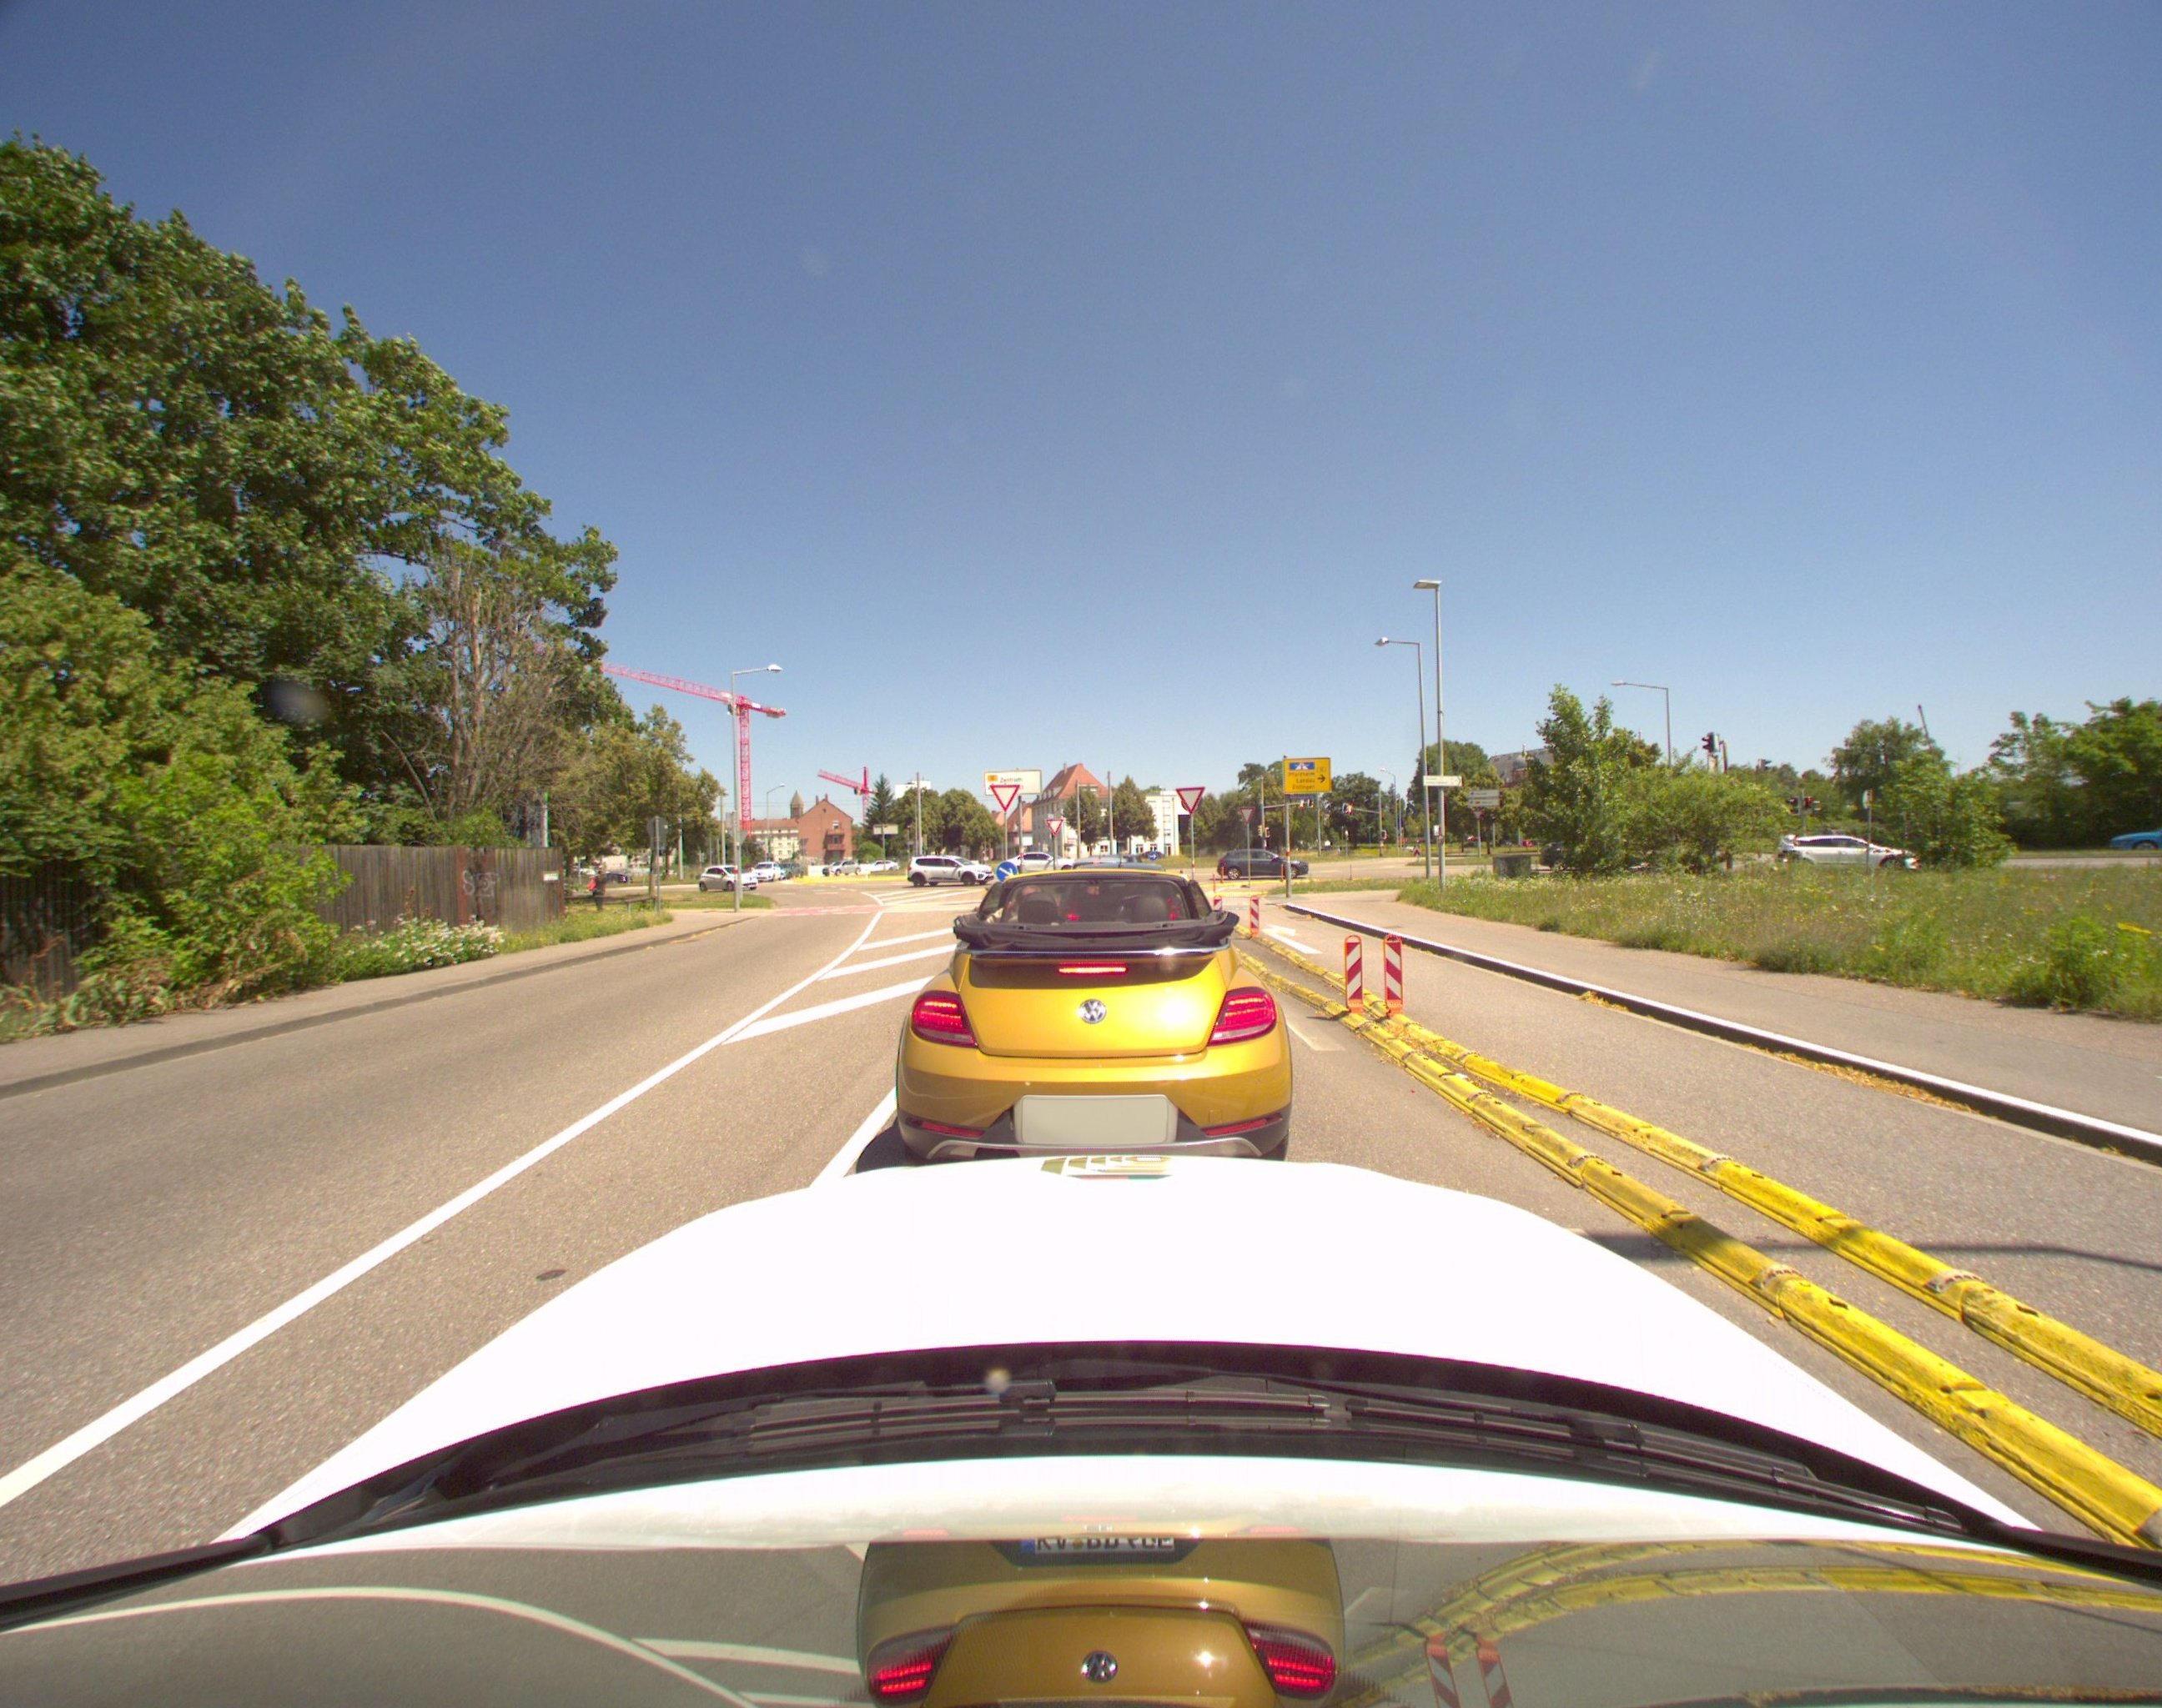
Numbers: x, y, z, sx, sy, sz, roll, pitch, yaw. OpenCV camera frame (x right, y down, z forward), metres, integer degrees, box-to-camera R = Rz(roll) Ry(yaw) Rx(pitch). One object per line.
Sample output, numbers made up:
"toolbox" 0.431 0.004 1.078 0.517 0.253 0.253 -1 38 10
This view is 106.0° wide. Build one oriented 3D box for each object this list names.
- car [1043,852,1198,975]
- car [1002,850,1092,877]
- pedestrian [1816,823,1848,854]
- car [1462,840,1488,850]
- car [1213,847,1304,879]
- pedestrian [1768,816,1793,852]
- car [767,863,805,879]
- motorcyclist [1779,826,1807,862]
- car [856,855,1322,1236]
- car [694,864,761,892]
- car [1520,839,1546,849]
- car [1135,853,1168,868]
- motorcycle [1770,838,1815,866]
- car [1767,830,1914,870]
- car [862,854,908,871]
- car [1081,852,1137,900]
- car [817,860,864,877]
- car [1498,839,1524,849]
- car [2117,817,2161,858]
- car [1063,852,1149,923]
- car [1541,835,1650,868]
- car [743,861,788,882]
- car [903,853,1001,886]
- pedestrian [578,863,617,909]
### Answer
"car" 0.541 0.717 11.770 1.841 1.442 4.002 -1 0 2
"car" -1.978 0.579 48.519 4.956 1.509 2.007 -1 0 13
"pedestrian" 37.618 -0.765 40.796 0.789 1.563 0.823 -1 0 3
"car" 71.797 -1.643 148.525 3.993 1.714 1.990 -1 0 -15
"car" 8.481 0.419 39.197 4.179 1.442 2.005 -1 0 9
"pedestrian" 36.534 -1.038 42.549 0.647 1.870 0.737 -1 0 3
"car" -25.135 1.454 69.426 1.700 1.236 3.788 -1 0 2
"motorcyclist" 25.822 -0.370 29.534 0.616 1.289 0.576 -1 0 -27
"car" 0.081 0.733 4.991 1.746 1.422 3.779 -1 0 1
"car" -21.266 1.447 48.968 3.961 1.620 1.691 -1 0 30
"car" 84.794 -1.892 152.835 3.996 1.714 1.989 -1 0 -17
"car" 9.336 0.847 108.230 4.163 1.672 1.954 -3 0 9
"motorcycle" 25.791 -0.082 29.510 1.712 0.970 0.625 -1 0 -28
"car" 29.464 -0.142 31.759 3.969 1.444 1.643 -1 0 35
"car" -22.516 0.928 93.684 4.703 1.828 1.979 -1 0 -33
"car" 0.940 0.685 27.587 1.730 1.477 4.002 -1 0 2
"car" -23.276 1.421 79.064 1.690 1.500 4.247 -1 0 34
"car" 79.425 -1.790 150.523 3.993 1.714 1.990 -1 0 -15
"car" 50.627 -0.779 37.103 3.950 1.838 2.012 -1 0 45
"car" 0.582 0.695 18.788 1.730 1.442 4.002 -1 0 2
"car" 24.220 -0.115 38.526 4.148 1.442 2.012 -1 0 27
"car" -24.651 1.319 63.762 1.749 1.549 4.002 -1 0 2
"car" -6.682 0.795 42.313 4.540 1.566 2.009 -1 0 16
"pedestrian" -17.100 1.119 28.809 0.866 1.563 0.815 -1 0 24
